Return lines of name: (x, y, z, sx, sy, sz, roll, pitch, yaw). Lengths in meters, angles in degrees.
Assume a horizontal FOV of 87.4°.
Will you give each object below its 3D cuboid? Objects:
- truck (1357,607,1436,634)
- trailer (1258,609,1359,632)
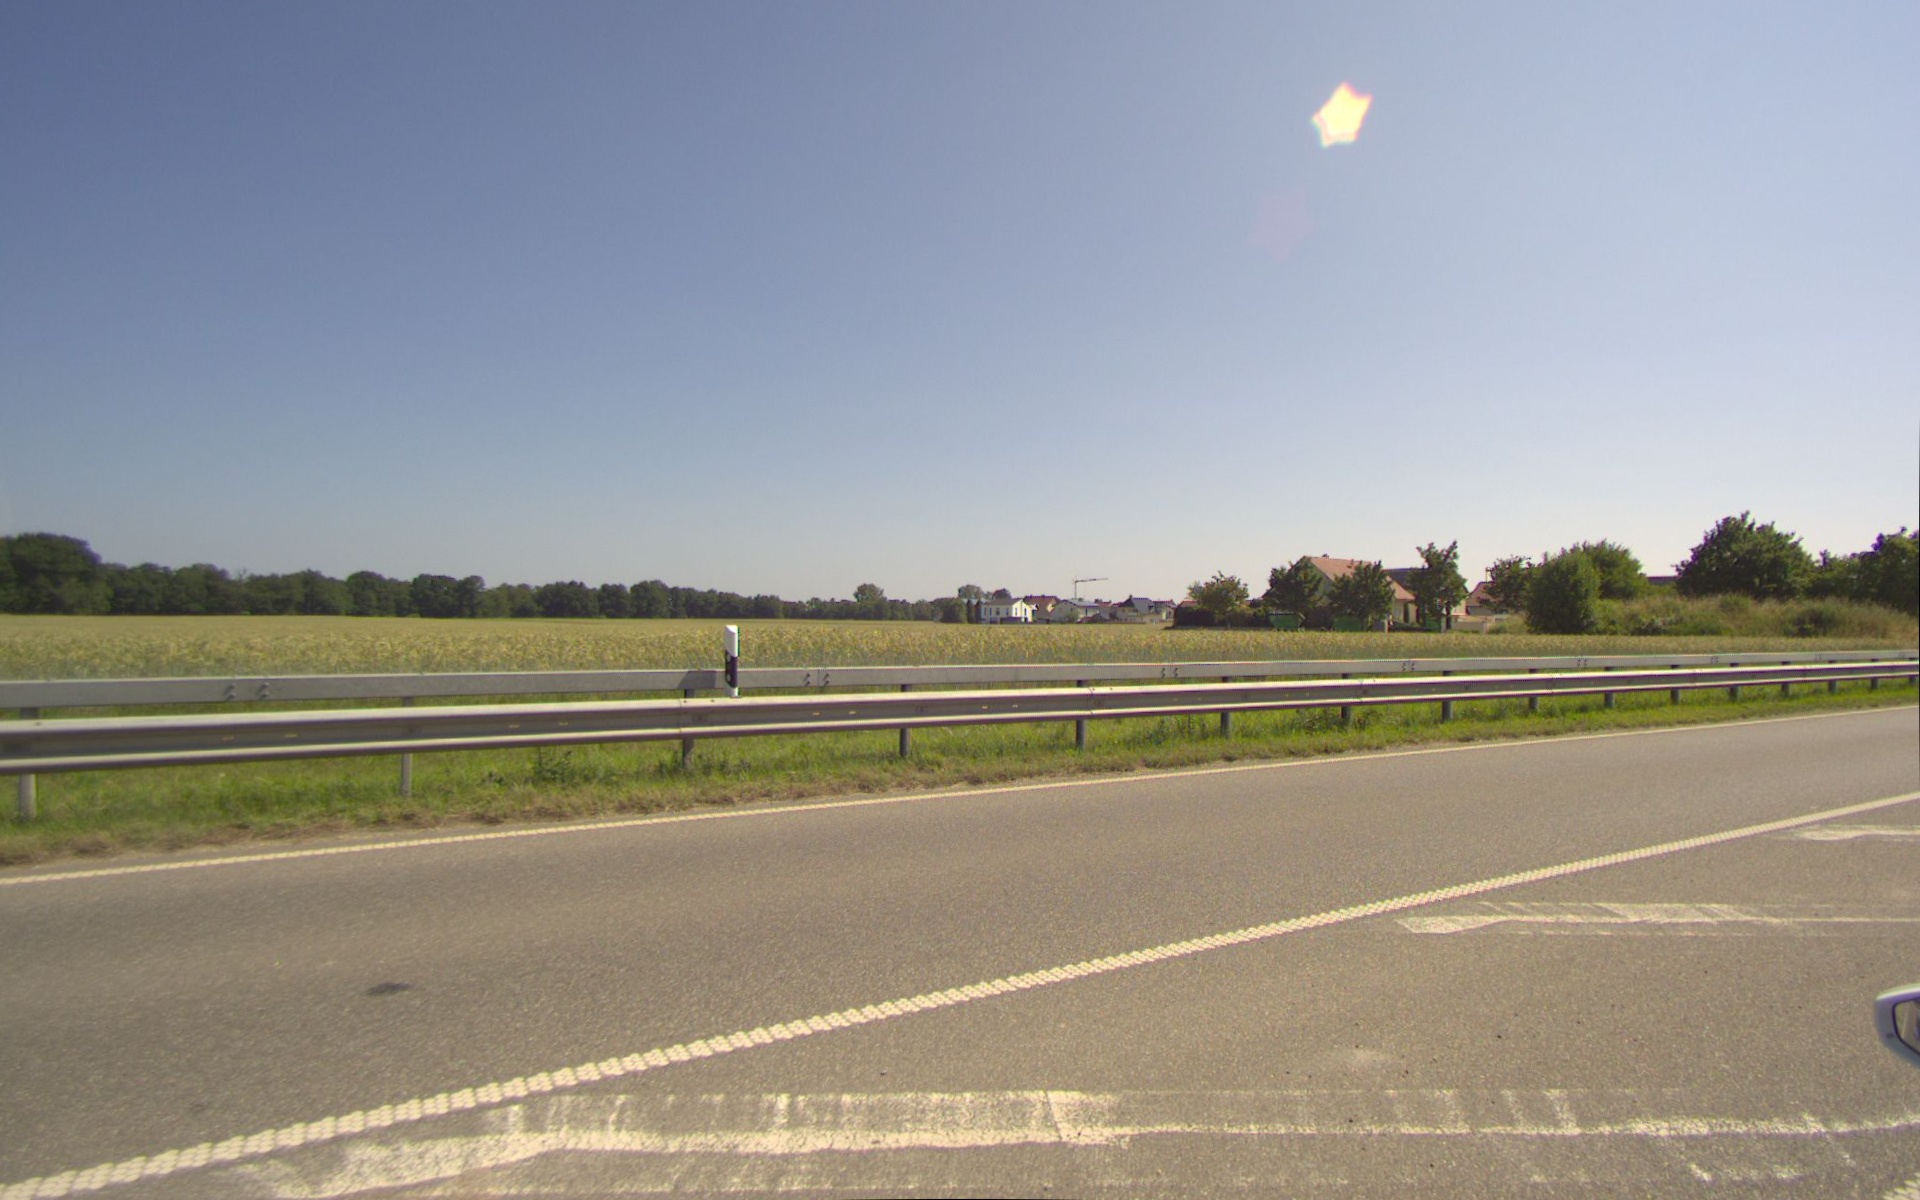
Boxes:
truck: (46.370, 2.181, 106.775, 7.540, 2.684, 2.520, 1, 0, 24)
trailer: (38.297, 2.247, 110.615, 10.292, 2.308, 1.999, 1, 0, 24)
